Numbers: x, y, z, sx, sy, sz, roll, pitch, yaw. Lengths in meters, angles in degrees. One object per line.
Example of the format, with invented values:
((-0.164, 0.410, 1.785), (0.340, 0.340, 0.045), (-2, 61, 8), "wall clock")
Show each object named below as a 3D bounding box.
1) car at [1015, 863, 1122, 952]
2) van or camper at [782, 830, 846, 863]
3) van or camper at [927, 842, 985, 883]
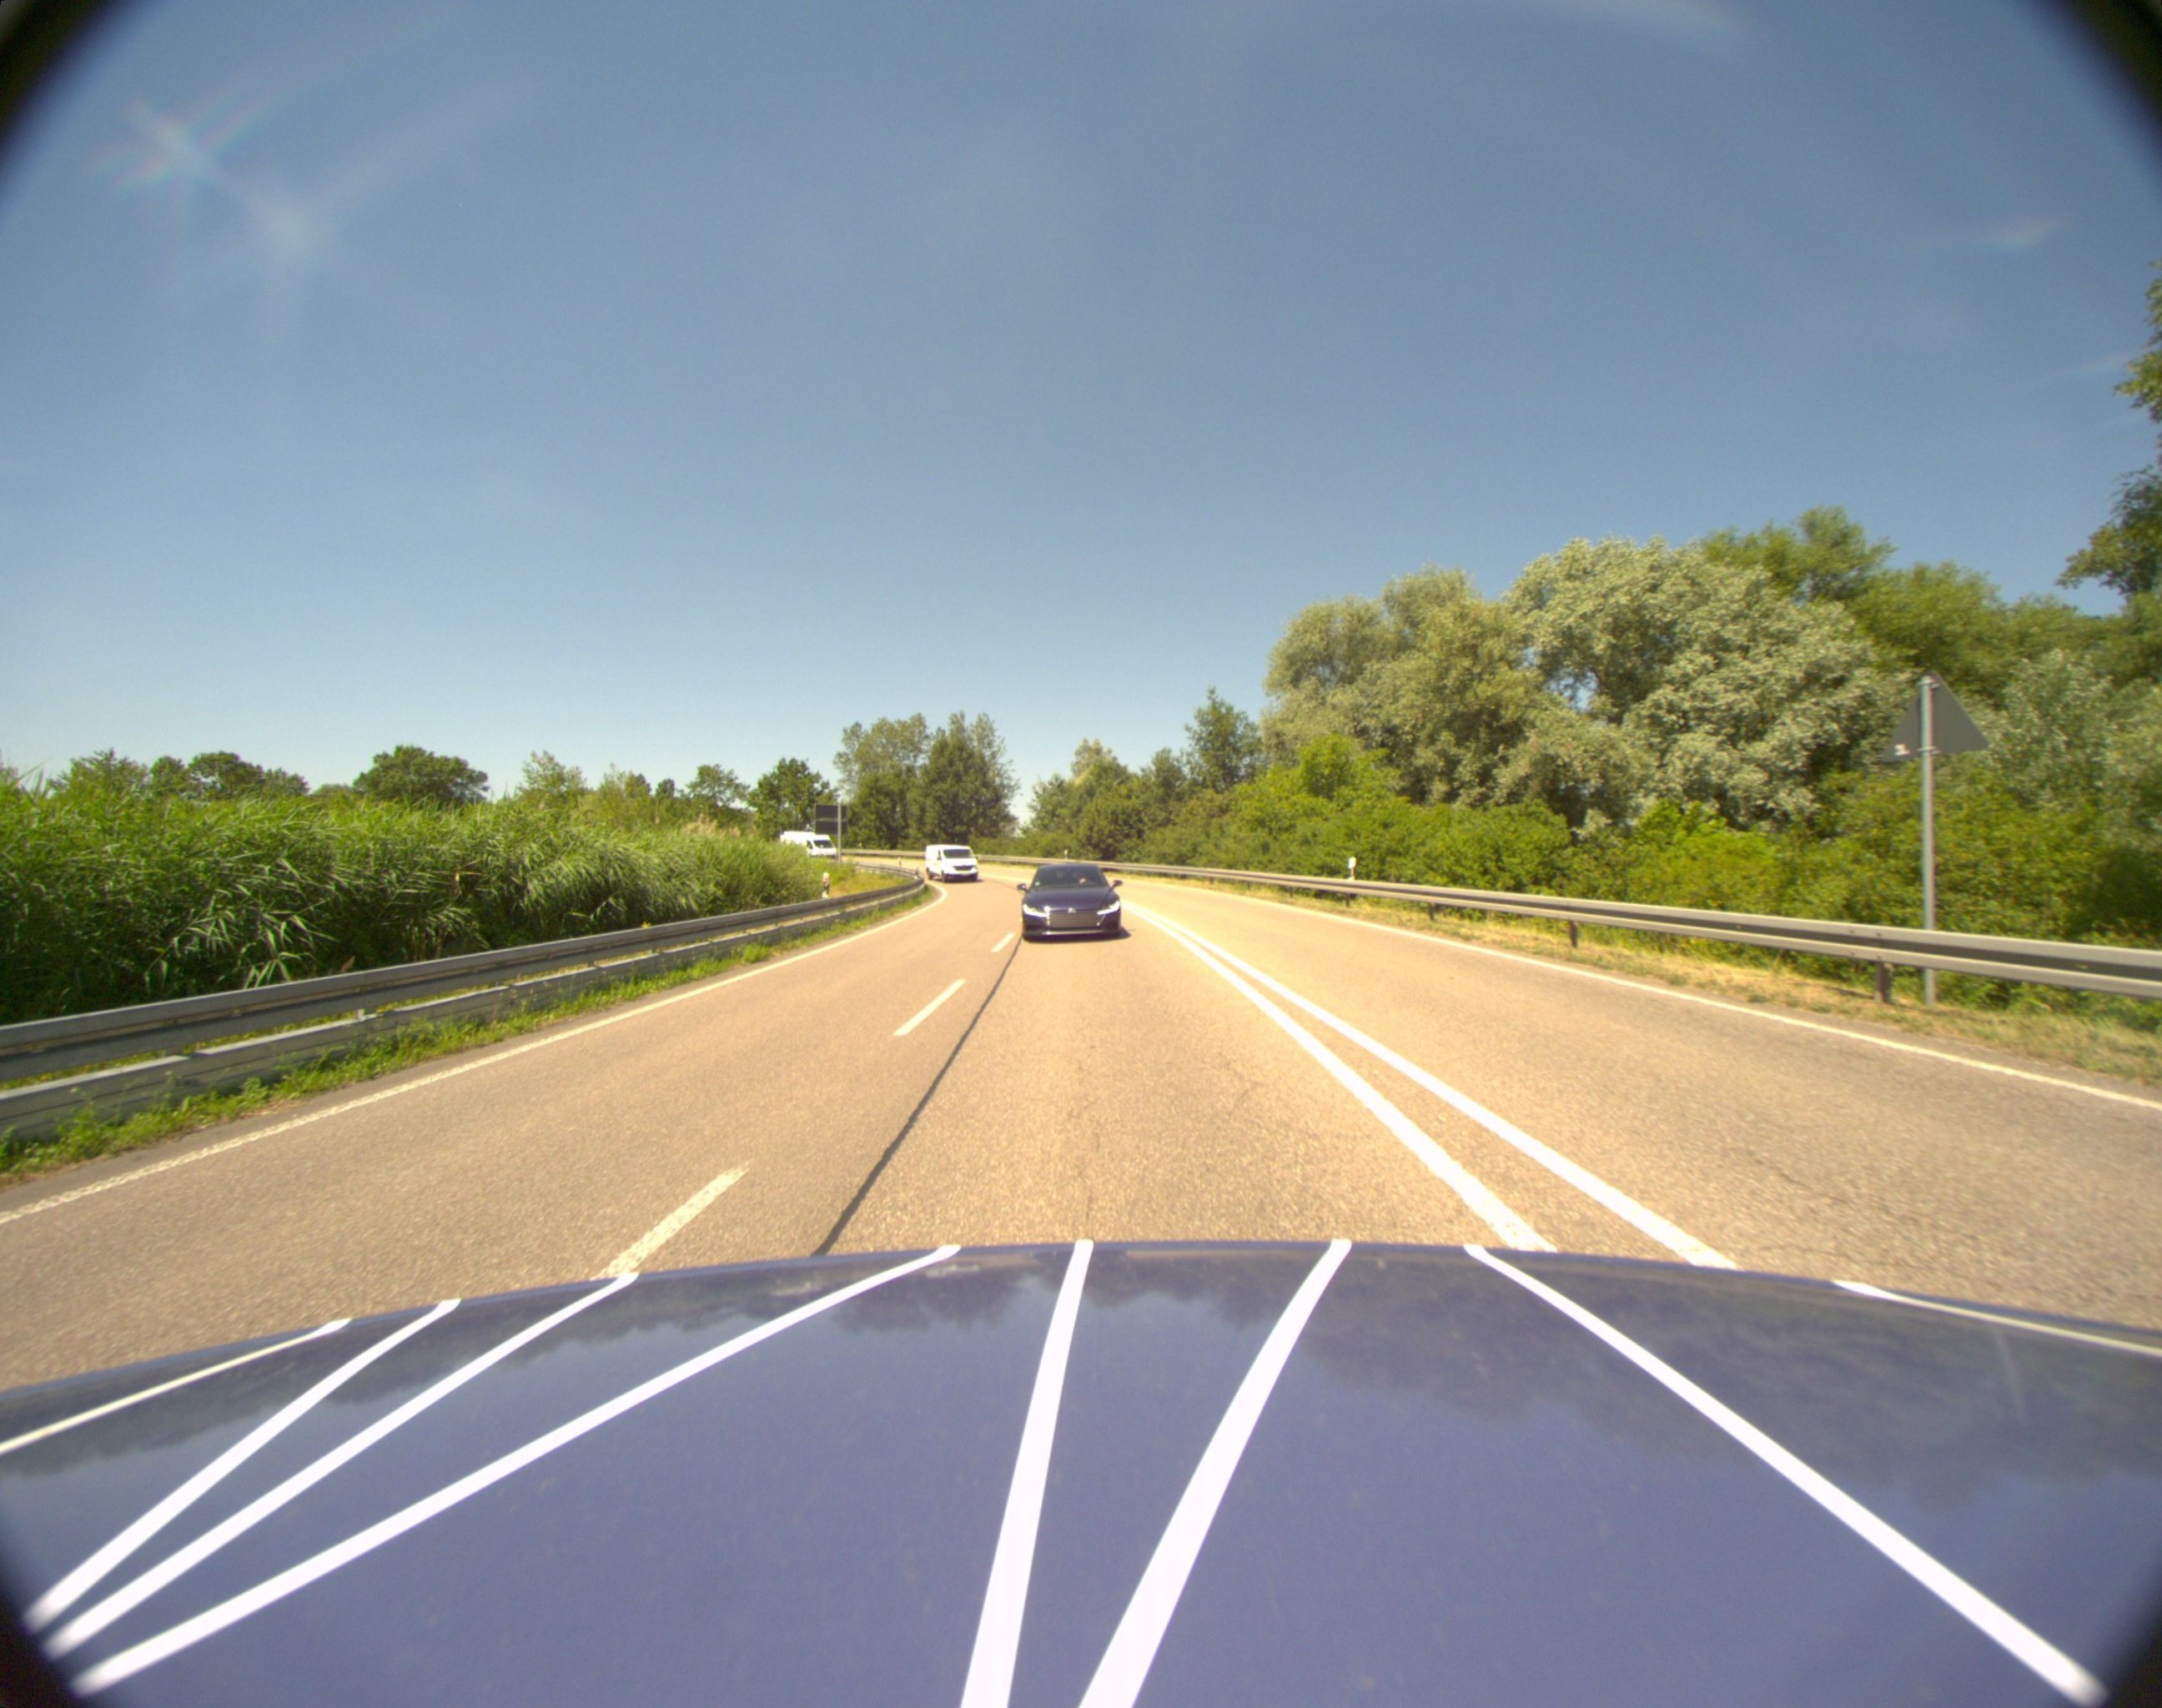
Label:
((-0.108, 0.976, 15.730), (1.842, 1.422, 4.534), (-2, 0, 3), "car")
((-22.011, -0.706, 62.504), (6.029, 2.541, 2.078), (1, 4, 40), "van or camper")
((-7.160, 0.392, 43.012), (2.012, 2.020, 5.436), (-2, 3, -22), "van or camper")
